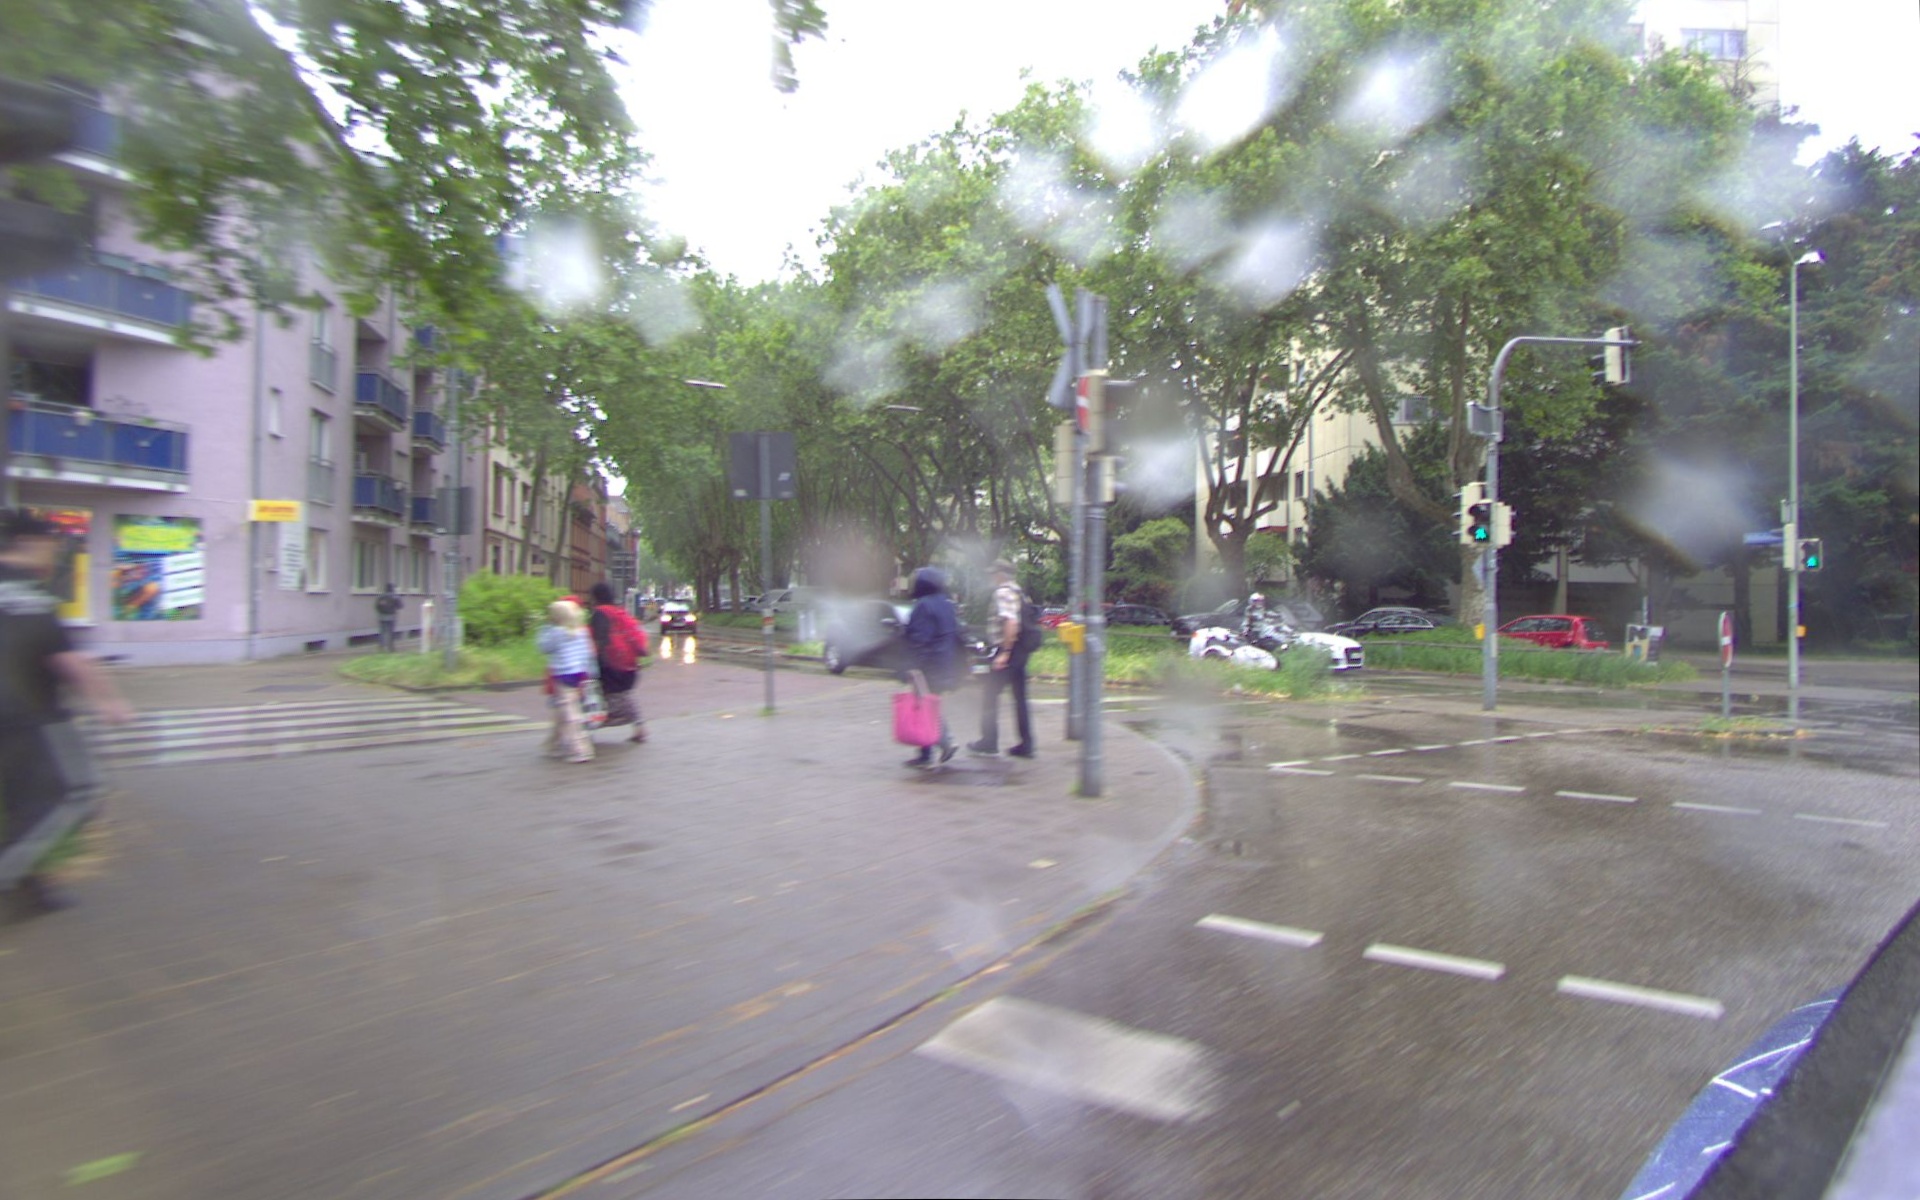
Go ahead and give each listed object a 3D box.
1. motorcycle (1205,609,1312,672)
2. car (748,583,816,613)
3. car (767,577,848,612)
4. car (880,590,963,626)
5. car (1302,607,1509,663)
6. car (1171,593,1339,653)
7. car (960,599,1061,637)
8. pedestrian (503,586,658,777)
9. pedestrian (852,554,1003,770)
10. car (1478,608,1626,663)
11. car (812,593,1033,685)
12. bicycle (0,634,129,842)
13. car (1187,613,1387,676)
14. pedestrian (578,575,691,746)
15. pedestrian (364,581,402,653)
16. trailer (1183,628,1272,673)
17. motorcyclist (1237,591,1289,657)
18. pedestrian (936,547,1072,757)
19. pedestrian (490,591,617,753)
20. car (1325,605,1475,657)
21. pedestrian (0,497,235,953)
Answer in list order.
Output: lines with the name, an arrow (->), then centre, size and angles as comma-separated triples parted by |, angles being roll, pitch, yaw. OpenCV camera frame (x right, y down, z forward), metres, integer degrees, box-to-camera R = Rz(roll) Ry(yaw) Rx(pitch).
motorcycle -> 6.338, 0.837, 21.606 | 0.865, 1.230, 2.073 | 2, -1, -37
car -> -16.530, -0.176, 94.041 | 5.887, 2.683, 1.990 | 1, -1, 16
car -> -11.301, -0.393, 75.087 | 5.531, 2.431, 2.221 | 1, -1, 18
car -> -1.960, 0.395, 50.281 | 3.919, 1.676, 2.002 | 1, -1, -7
car -> 13.686, 1.018, 31.418 | 2.216, 1.537, 5.529 | 1, -1, -37
car -> 8.959, 0.697, 30.867 | 4.509, 1.685, 1.877 | 1, -1, -8
car -> 2.104, 0.743, 42.608 | 3.761, 1.440, 1.890 | 2, 0, -20
pedestrian -> -3.323, 0.659, 8.852 | 1.061, 1.545, 0.865 | 0, -1, 43
pedestrian -> -0.304, 0.495, 8.643 | 0.975, 1.708, 1.058 | 2, 0, -19
car -> 17.965, 1.048, 30.810 | 1.807, 1.544, 3.461 | 2, -1, -34
car -> -0.809, 0.647, 18.779 | 1.959, 1.480, 4.173 | 2, -1, -40
bicycle -> -5.715, 0.786, 6.264 | 1.608, 1.090, 0.440 | 1, -1, 35
car -> 7.651, 0.997, 23.974 | 1.870, 1.291, 4.164 | 2, -1, -41
pedestrian -> -3.172, 0.559, 9.880 | 0.754, 1.567, 0.686 | 2, 0, 25
pedestrian -> -14.865, 0.435, 26.086 | 0.629, 1.826, 0.623 | 2, 0, -11
trailer -> 5.539, 1.022, 21.015 | 1.008, 0.852, 1.482 | 2, -1, -36
motorcyclist -> 6.444, 0.506, 21.501 | 0.744, 1.368, 0.754 | 2, -1, -37
pedestrian -> 0.392, 0.447, 9.340 | 0.795, 1.804, 0.995 | 2, 0, -30
pedestrian -> -3.812, 0.638, 9.479 | 1.005, 1.399, 0.664 | 2, 0, 38
car -> 15.125, 1.027, 35.000 | 1.902, 1.628, 4.458 | 2, -1, -32
pedestrian -> -4.126, 0.492, 4.458 | 1.031, 1.811, 1.221 | 1, -1, 35
